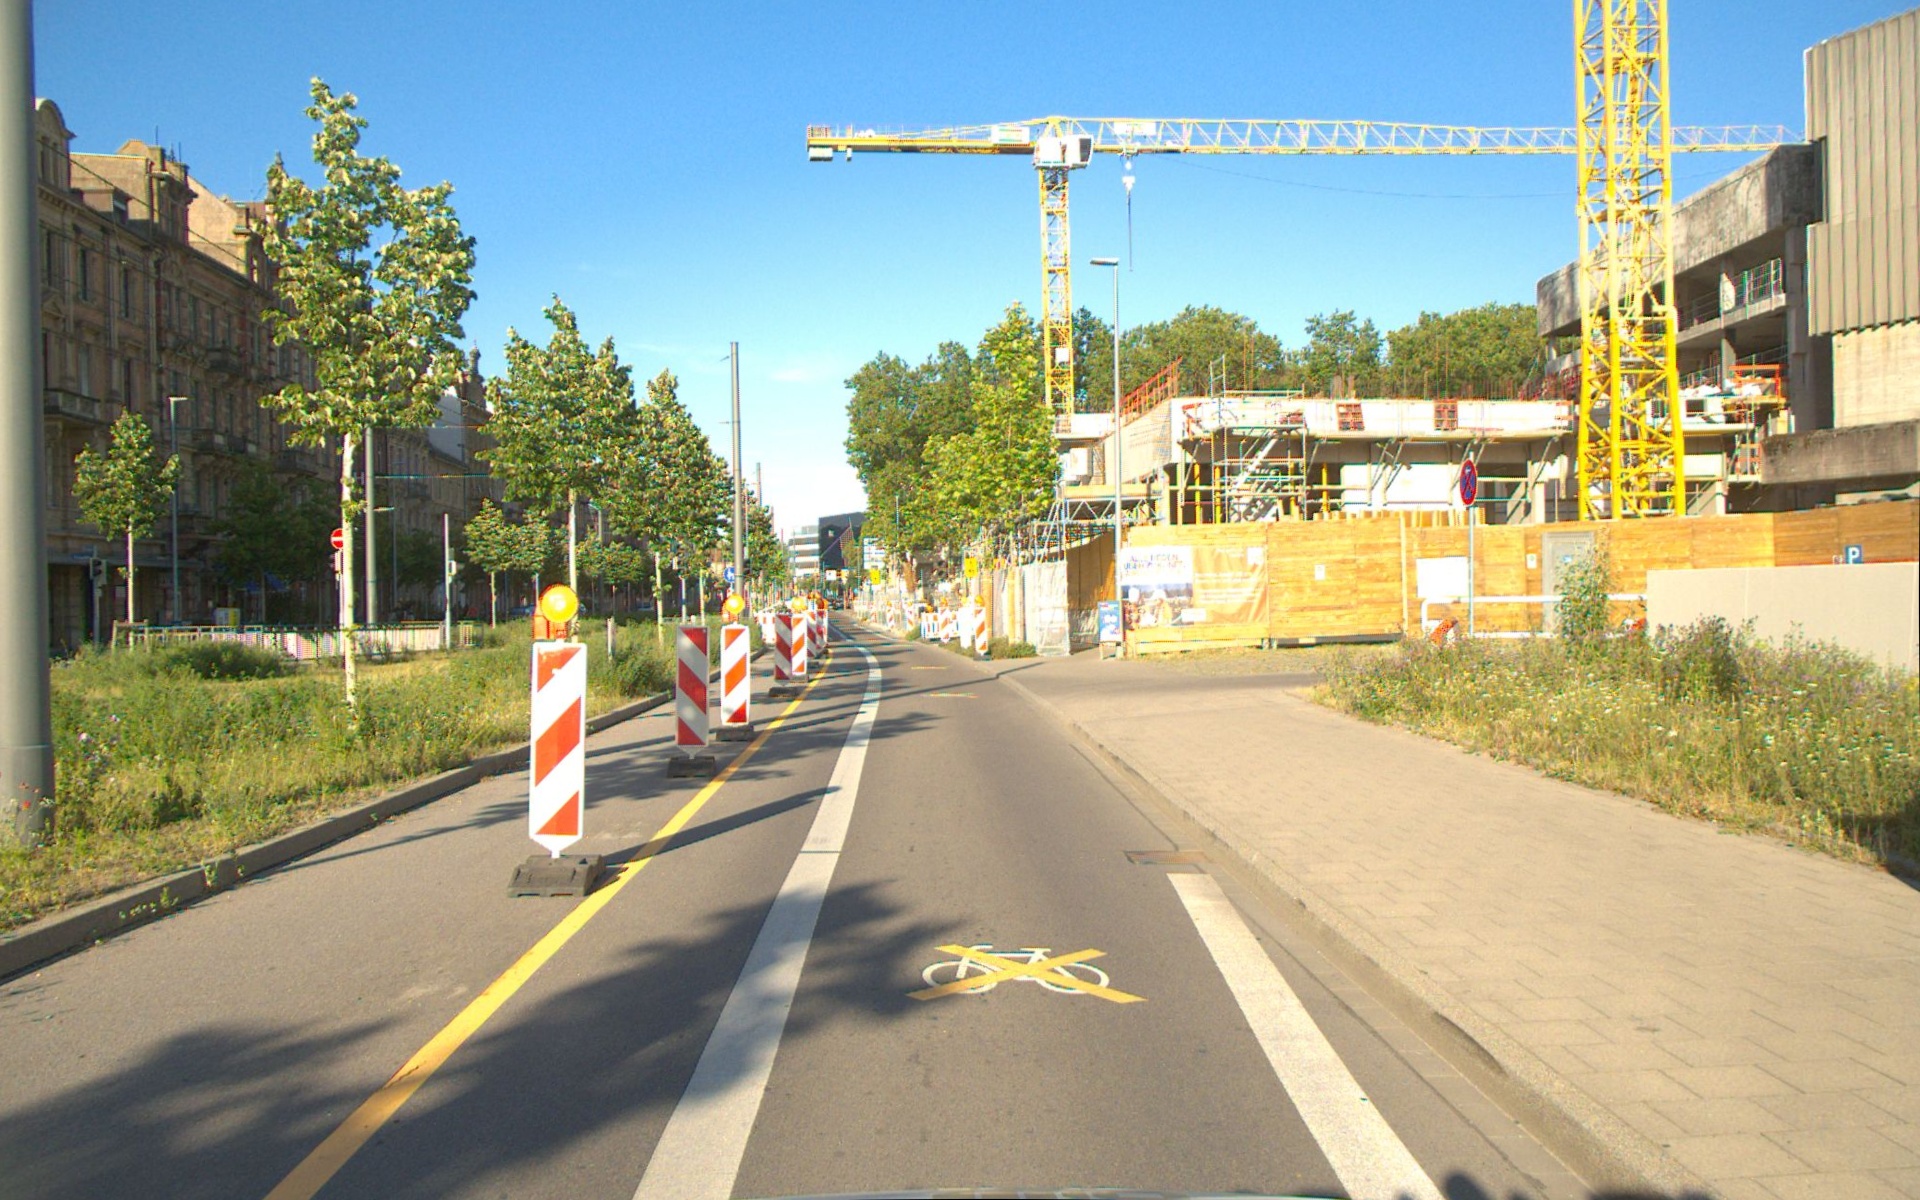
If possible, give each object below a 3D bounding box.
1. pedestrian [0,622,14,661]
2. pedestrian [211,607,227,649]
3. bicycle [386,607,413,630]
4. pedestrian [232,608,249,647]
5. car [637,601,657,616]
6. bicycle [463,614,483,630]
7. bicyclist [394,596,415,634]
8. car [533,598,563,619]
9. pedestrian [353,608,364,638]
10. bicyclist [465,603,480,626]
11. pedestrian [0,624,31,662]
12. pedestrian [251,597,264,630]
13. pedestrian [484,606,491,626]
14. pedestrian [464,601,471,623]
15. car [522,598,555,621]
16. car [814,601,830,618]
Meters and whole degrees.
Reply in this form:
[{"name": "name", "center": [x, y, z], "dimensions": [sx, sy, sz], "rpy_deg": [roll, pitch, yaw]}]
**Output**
[{"name": "pedestrian", "center": [-31.128, 1.351, 53.293], "dimensions": [0.775, 1.229, 0.928], "rpy_deg": [-1, 0, -4]}, {"name": "pedestrian", "center": [-31.409, 1.177, 70.100], "dimensions": [0.498, 1.795, 0.406], "rpy_deg": [1, -1, -6]}, {"name": "bicycle", "center": [-25.082, 0.807, 74.068], "dimensions": [0.681, 0.995, 1.825], "rpy_deg": [-1, 0, -4]}, {"name": "pedestrian", "center": [-30.046, 1.139, 69.090], "dimensions": [0.477, 1.612, 0.533], "rpy_deg": [1, -1, -5]}, {"name": "car", "center": [-31.897, 0.880, 168.668], "dimensions": [1.563, 1.509, 3.620], "rpy_deg": [0, 0, -4]}, {"name": "bicycle", "center": [-26.866, 1.208, 91.228], "dimensions": [0.624, 0.872, 2.029], "rpy_deg": [-1, 0, -4]}, {"name": "bicyclist", "center": [-25.059, 0.664, 74.596], "dimensions": [0.681, 1.686, 0.881], "rpy_deg": [-1, 0, -5]}, {"name": "car", "center": [-32.100, 0.643, 128.881], "dimensions": [1.536, 1.590, 4.708], "rpy_deg": [-1, 0, -6]}, {"name": "pedestrian", "center": [-32.787, 1.262, 90.149], "dimensions": [0.395, 1.612, 0.425], "rpy_deg": [1, -1, -6]}, {"name": "bicyclist", "center": [-26.855, 0.783, 91.038], "dimensions": [0.625, 1.261, 0.738], "rpy_deg": [-1, 0, -4]}, {"name": "pedestrian", "center": [-31.329, 1.412, 54.755], "dimensions": [0.676, 1.229, 0.928], "rpy_deg": [-1, 0, -4]}, {"name": "pedestrian", "center": [-34.952, 0.678, 82.299], "dimensions": [0.377, 1.612, 0.390], "rpy_deg": [1, -1, 25]}, {"name": "pedestrian", "center": [-37.745, 1.282, 132.097], "dimensions": [0.452, 1.612, 0.433], "rpy_deg": [1, -1, -12]}, {"name": "pedestrian", "center": [-35.020, 0.848, 117.606], "dimensions": [0.397, 1.559, 0.434], "rpy_deg": [1, -1, -6]}, {"name": "car", "center": [-30.709, 0.658, 120.569], "dimensions": [1.536, 1.590, 4.709], "rpy_deg": [-1, 0, -6]}, {"name": "car", "center": [-16.335, 1.139, 195.523], "dimensions": [1.847, 1.875, 3.663], "rpy_deg": [-1, 0, -6]}]
